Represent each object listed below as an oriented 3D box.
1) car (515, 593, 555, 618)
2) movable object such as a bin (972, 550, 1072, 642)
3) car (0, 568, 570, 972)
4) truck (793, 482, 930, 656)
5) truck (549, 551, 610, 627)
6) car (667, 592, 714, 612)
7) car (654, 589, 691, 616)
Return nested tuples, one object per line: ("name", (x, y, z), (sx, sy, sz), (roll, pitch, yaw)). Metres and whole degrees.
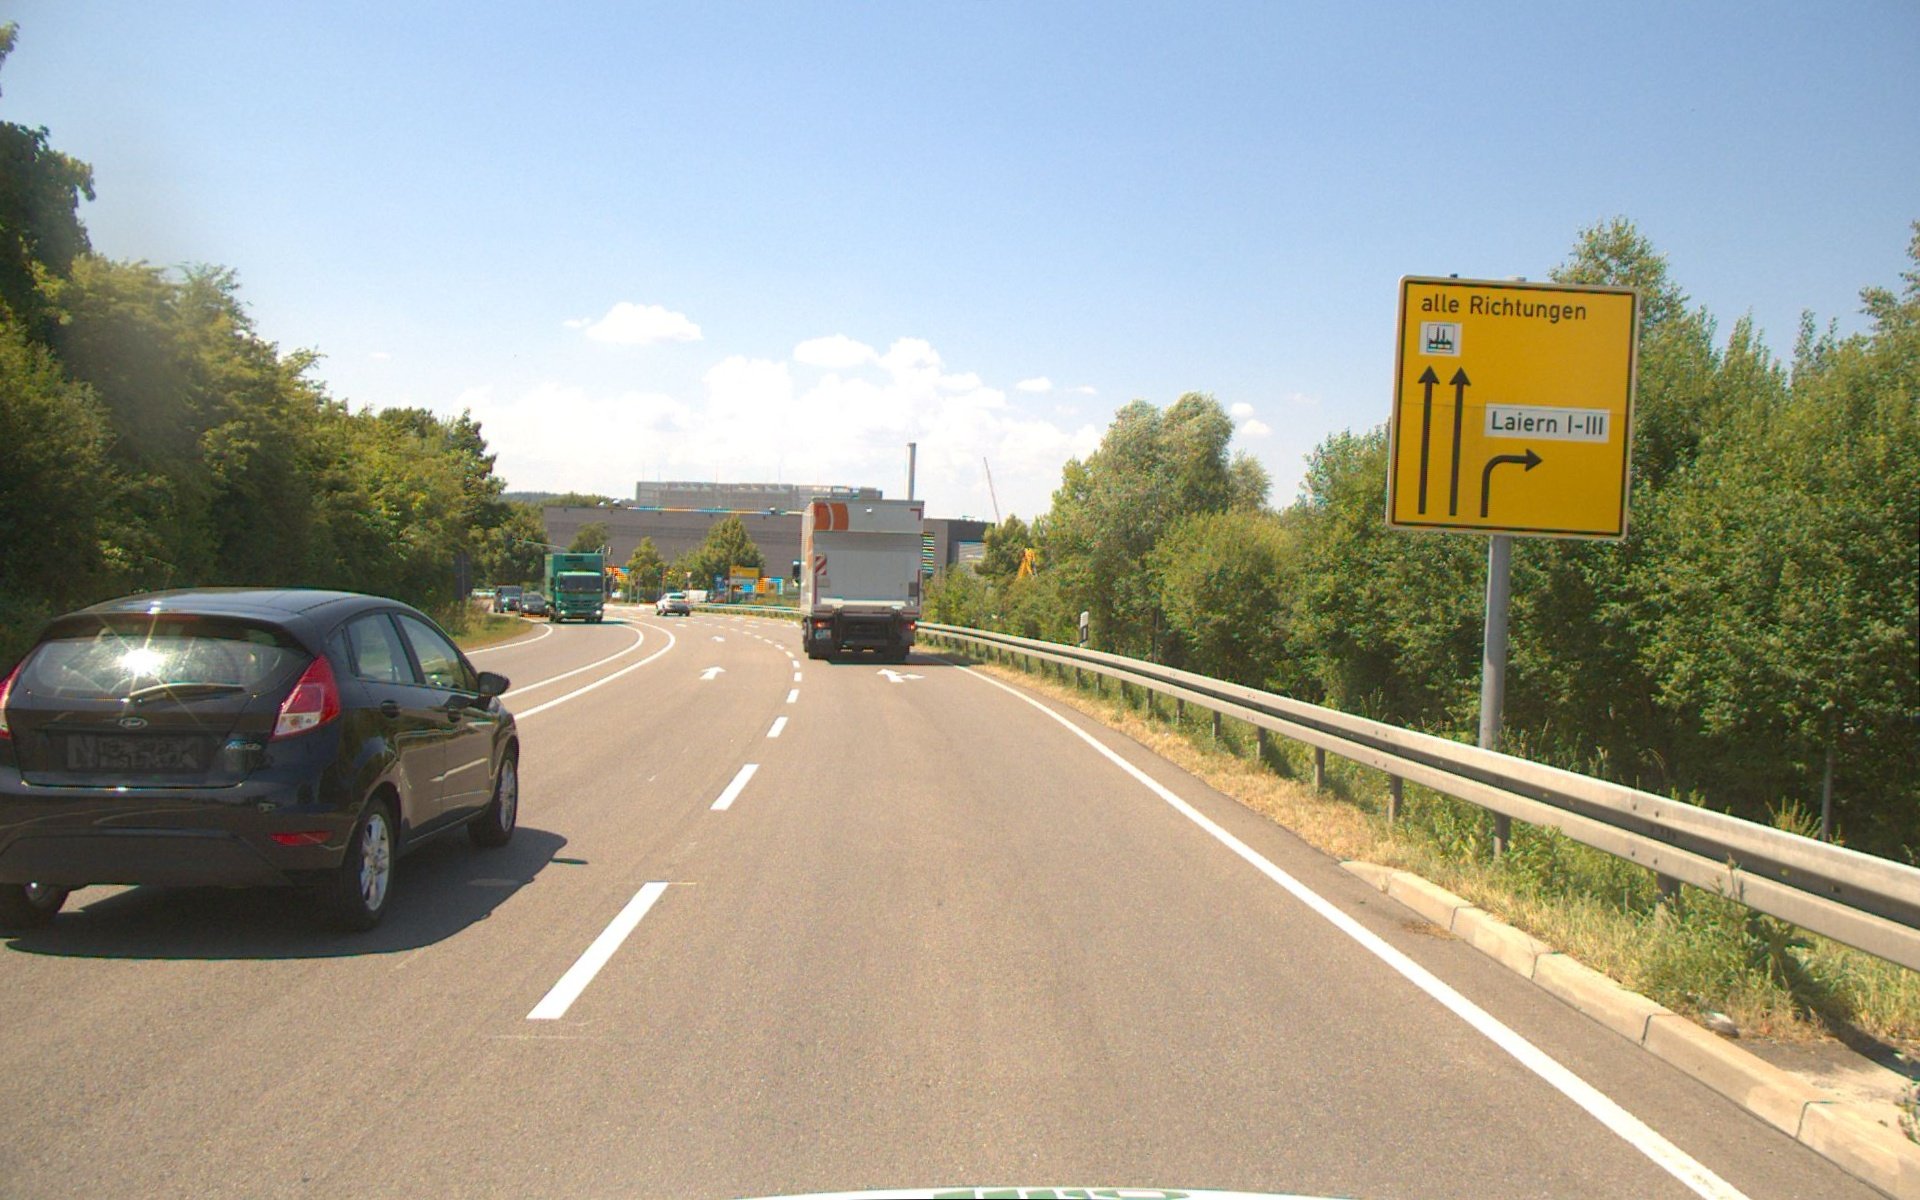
("car", (-26.560, 0.346, 103.479), (1.842, 1.467, 4.322), (1, 0, -8))
("movable object such as a bin", (3.895, -0.359, 107.116), (3.371, 5.351, 9.186), (3, 2, -17))
("car", (-3.287, 0.627, 8.547), (1.620, 1.519, 4.206), (2, 1, -2))
("truck", (-2.628, -0.739, 41.150), (2.750, 3.775, 9.094), (2, 0, -7))
("truck", (-19.721, -0.557, 85.635), (2.820, 3.636, 9.398), (1, 0, -13))
("car", (-29.059, 0.217, 178.630), (4.647, 1.966, 2.154), (1, 0, 0))
("car", (-19.621, 0.161, 112.753), (1.913, 1.693, 3.982), (4, -1, -16))
